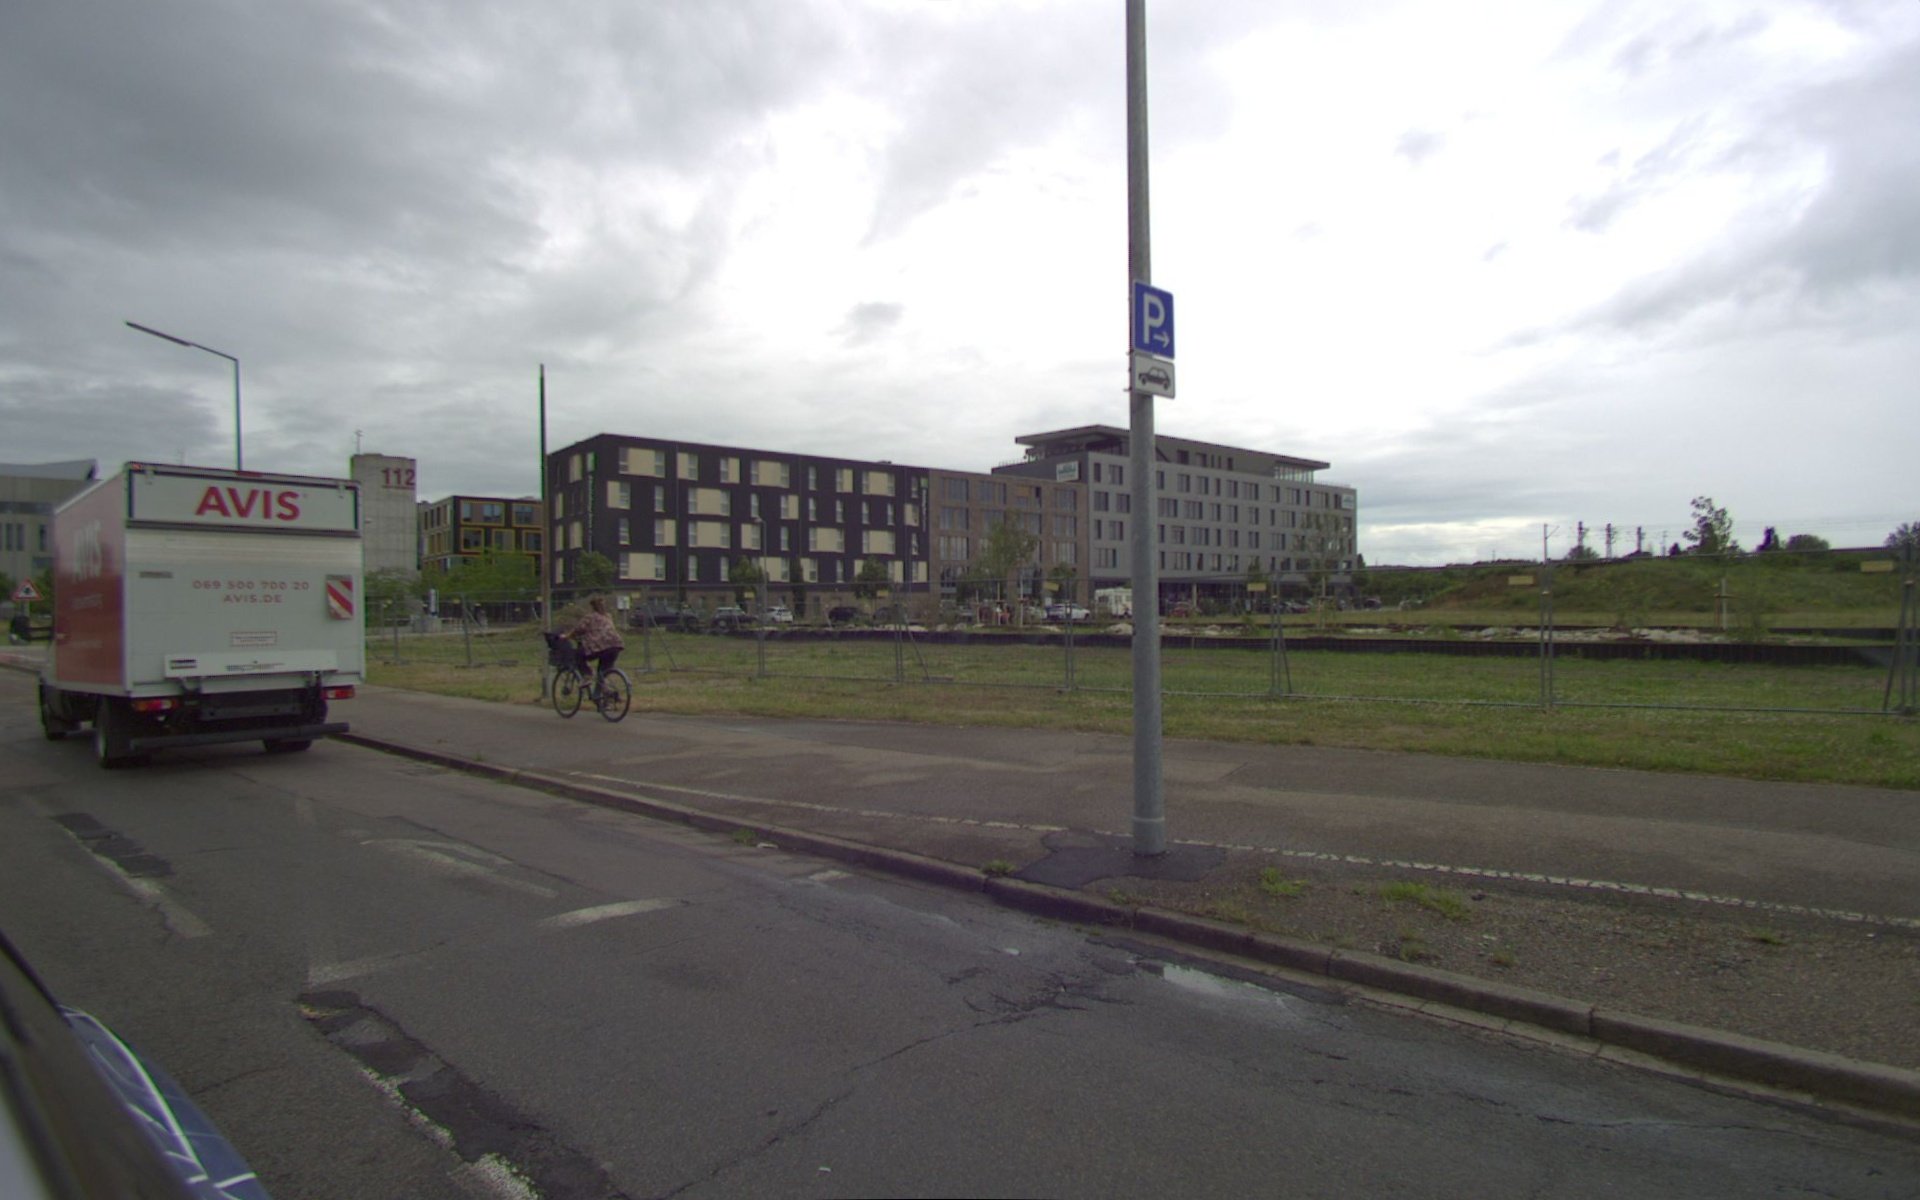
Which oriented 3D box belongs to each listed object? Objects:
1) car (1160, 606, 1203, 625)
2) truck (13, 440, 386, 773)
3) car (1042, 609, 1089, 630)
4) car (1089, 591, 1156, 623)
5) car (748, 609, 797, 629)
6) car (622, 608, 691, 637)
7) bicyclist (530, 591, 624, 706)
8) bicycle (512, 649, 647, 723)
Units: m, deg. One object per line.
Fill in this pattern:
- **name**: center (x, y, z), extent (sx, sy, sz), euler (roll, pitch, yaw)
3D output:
- **car**: center (22.588, 1.605, 103.201), extent (4.455, 1.852, 2.003), euler (0, -1, -41)
- **truck**: center (-9.881, 0.182, 12.764), extent (7.495, 3.085, 2.315), euler (-2, -4, 42)
- **car**: center (9.666, 1.759, 92.652), extent (3.937, 1.760, 2.003), euler (-1, -1, -40)
- **car**: center (15.755, 0.643, 97.907), extent (6.472, 2.979, 2.719), euler (-1, -1, -40)
- **car**: center (-15.679, 1.576, 84.597), extent (4.153, 1.529, 1.972), euler (-3, -2, 43)
- **car**: center (-20.169, 1.489, 67.367), extent (3.936, 1.837, 2.004), euler (-1, -1, -39)
- **bicyclist**: center (-5.340, 0.660, 14.106), extent (1.093, 1.538, 0.774), euler (-3, -2, 41)
- **bicycle**: center (-5.327, 1.161, 14.095), extent (2.231, 0.914, 0.795), euler (-3, -2, 41)
